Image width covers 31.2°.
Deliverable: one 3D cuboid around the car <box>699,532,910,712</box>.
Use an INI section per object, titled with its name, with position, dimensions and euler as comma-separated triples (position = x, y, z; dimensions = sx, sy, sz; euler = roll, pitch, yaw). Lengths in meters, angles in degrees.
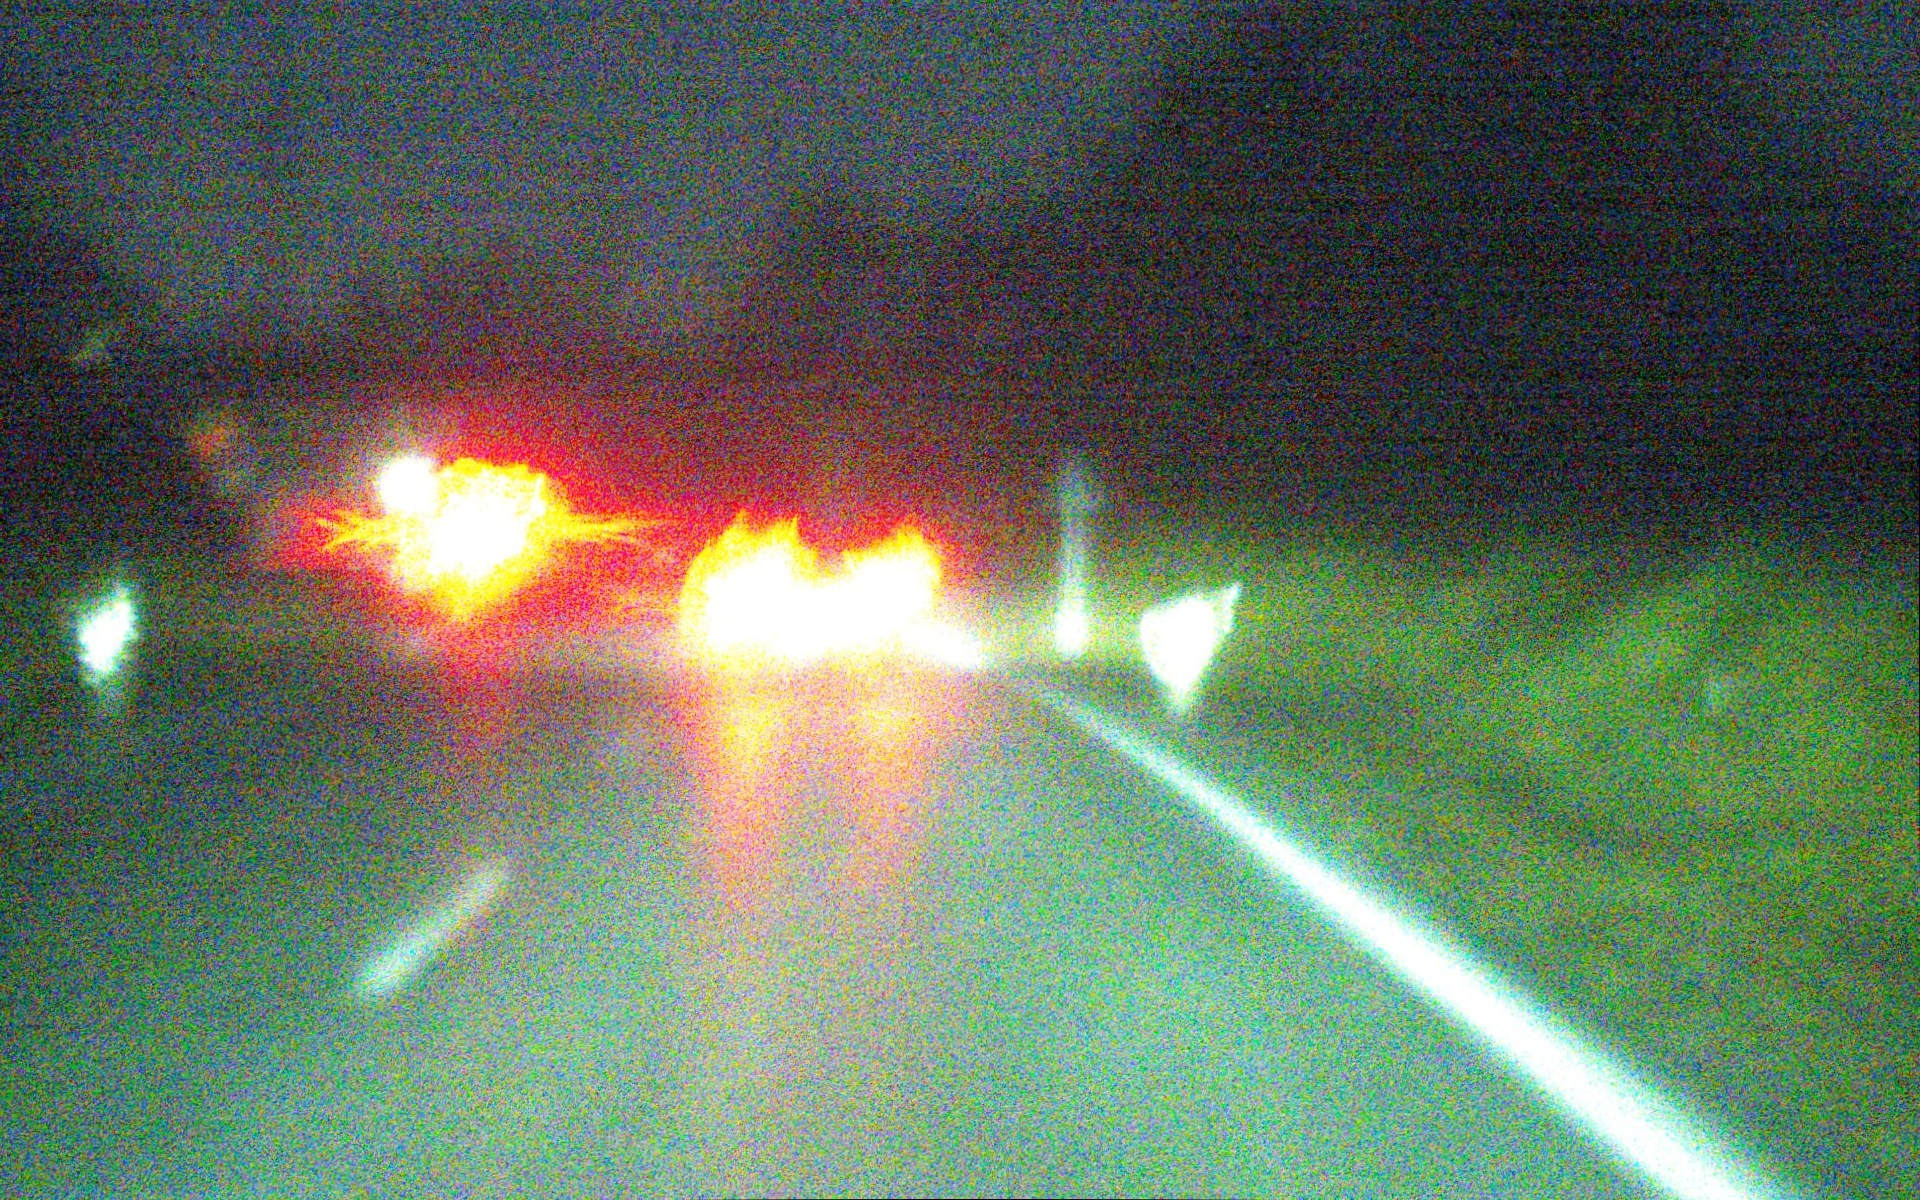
[car]
position = -1.605, 0.165, 35.231
dimensions = 1.993, 1.622, 4.985
euler = 0, 2, -3
